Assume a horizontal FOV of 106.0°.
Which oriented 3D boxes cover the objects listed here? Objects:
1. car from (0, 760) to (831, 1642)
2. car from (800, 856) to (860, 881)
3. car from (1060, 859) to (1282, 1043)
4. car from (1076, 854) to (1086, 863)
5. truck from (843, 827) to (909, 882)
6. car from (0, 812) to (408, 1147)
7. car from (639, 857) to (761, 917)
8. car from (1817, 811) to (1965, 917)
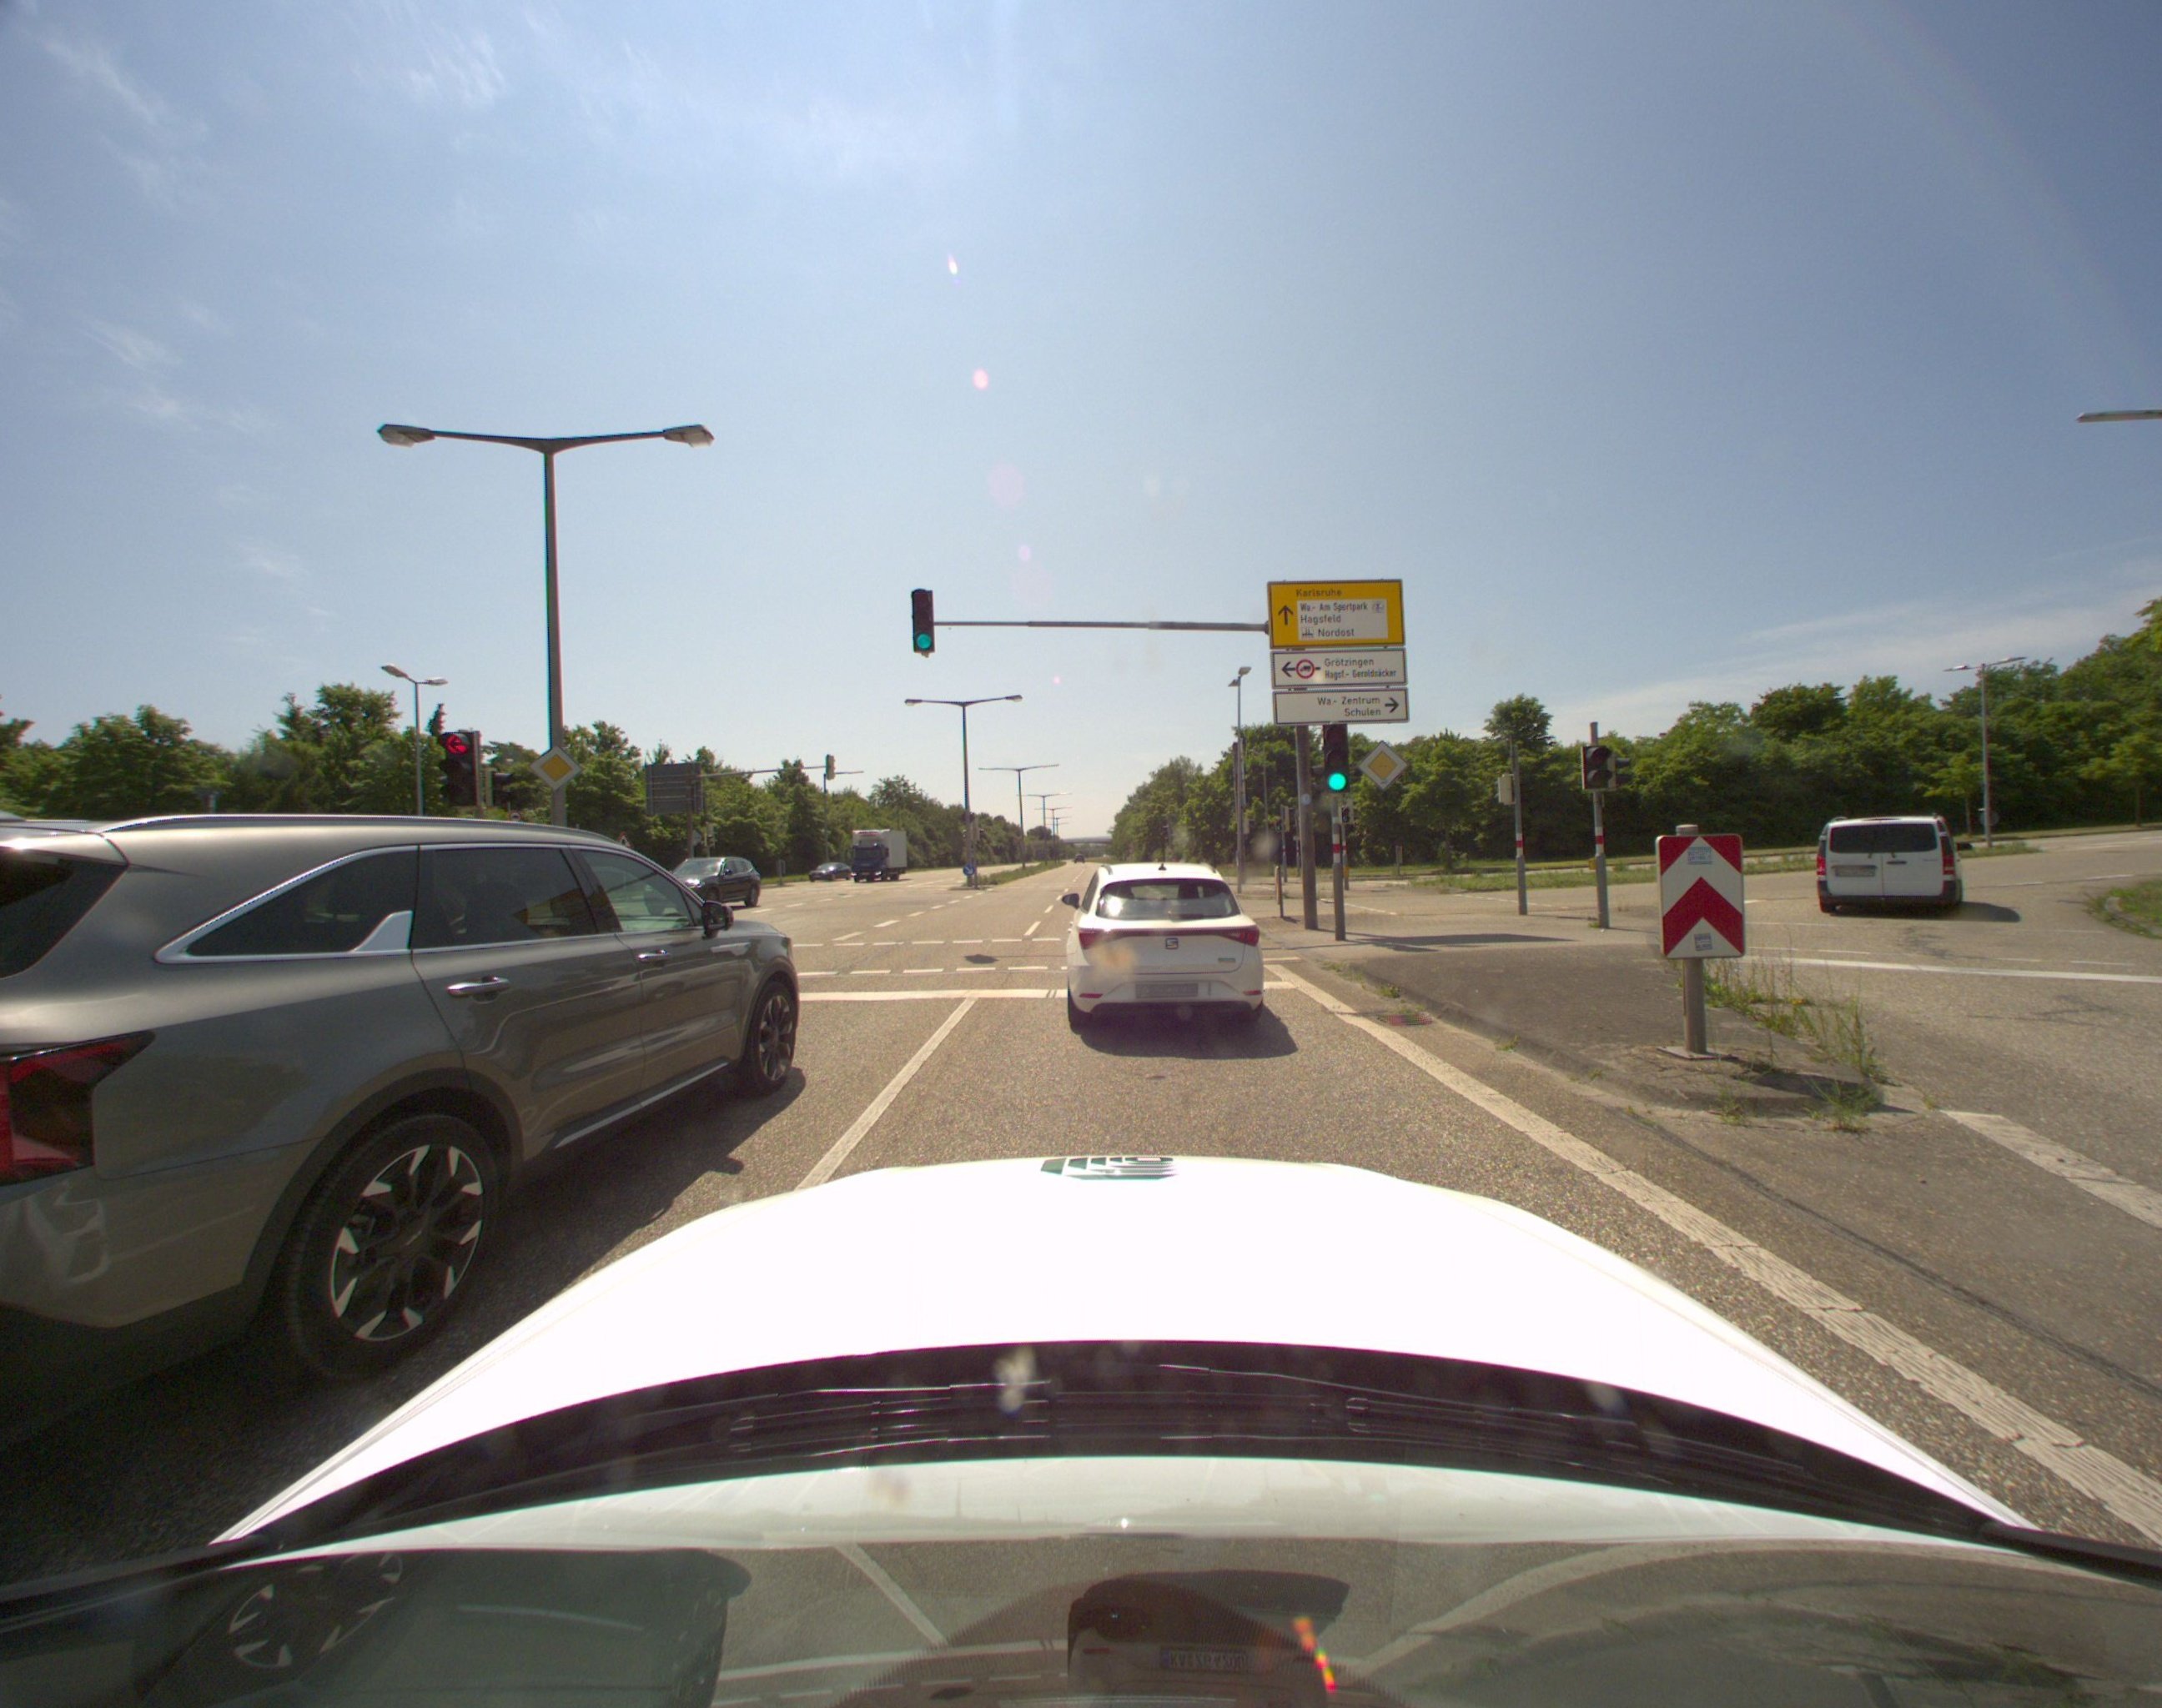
[{"bbox_3d":[-2.887,0.690,3.857,1.797,1.662,4.645,-2,0,2],"label":"car"},{"bbox_3d":[-18.716,1.056,60.975,1.809,1.732,4.946,-2,0,16],"label":"car"},{"bbox_3d":[0.755,0.782,8.209,1.728,1.428,3.695,0,-1,2],"label":"car"},{"bbox_3d":[0.039,0.990,171.691,1.848,1.709,4.000,-3,0,0],"label":"car"},{"bbox_3d":[-14.424,0.041,57.906,2.678,3.570,7.269,-2,0,1],"label":"truck"},{"bbox_3d":[-6.782,0.709,4.963,1.726,1.826,4.320,-2,0,0],"label":"car"},{"bbox_3d":[-11.858,0.968,25.685,1.700,1.663,4.225,-2,0,2],"label":"car"},{"bbox_3d":[16.250,0.117,16.261,4.936,1.818,1.843,-2,0,-43],"label":"car"}]
